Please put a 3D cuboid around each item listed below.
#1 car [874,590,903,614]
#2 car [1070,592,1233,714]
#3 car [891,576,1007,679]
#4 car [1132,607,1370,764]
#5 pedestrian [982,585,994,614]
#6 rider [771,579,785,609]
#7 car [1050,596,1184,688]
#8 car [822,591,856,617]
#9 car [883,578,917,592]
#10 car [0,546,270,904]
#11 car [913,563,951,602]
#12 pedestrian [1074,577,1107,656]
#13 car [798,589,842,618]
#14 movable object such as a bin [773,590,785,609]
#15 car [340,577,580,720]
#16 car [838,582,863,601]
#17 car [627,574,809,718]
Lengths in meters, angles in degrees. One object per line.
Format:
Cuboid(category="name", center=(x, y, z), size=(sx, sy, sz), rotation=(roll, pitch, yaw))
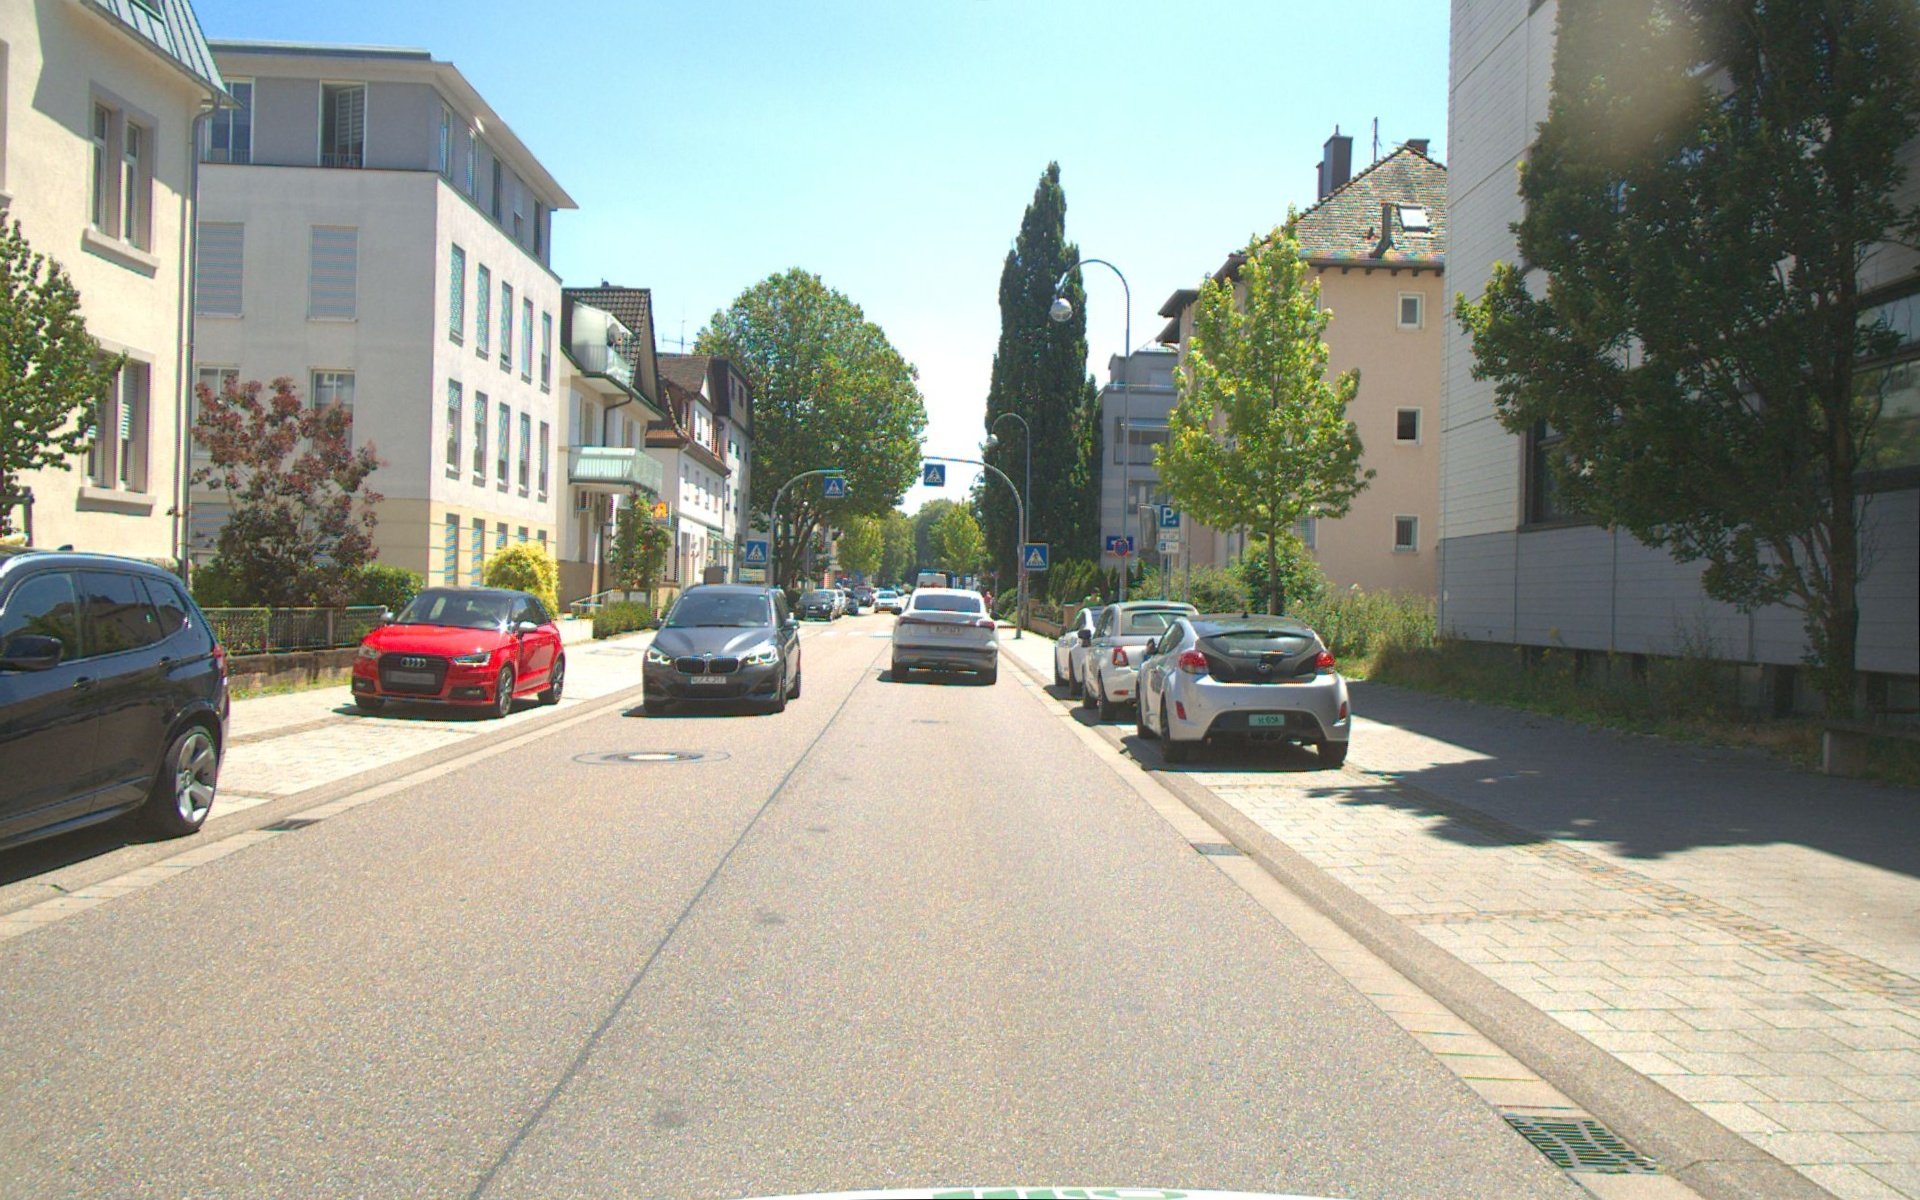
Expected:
Cuboid(category="car", center=(-4.855, 0.105, 112.657), size=(1.939, 1.546, 3.998), rotation=(1, 0, -2))
Cuboid(category="car", center=(2.544, 0.653, 22.907), size=(1.625, 1.514, 4.344), rotation=(0, 0, -2))
Cuboid(category="car", center=(-0.224, 0.460, 30.771), size=(1.897, 1.642, 4.471), rotation=(4, 0, -1))
Cuboid(category="car", center=(2.892, 0.796, 17.261), size=(1.824, 1.397, 4.000), rotation=(0, 0, 1))
Cuboid(category="pedestrian", center=(1.774, -0.028, 104.016), size=(0.680, 1.767, 0.667), rotation=(1, 0, -6))
Cuboid(category="rider", center=(-9.549, -0.320, 86.649), size=(0.648, 1.580, 0.661), rotation=(1, 0, -2))
Cuboid(category="car", center=(2.561, 0.649, 27.859), size=(1.691, 1.407, 4.400), rotation=(0, 0, -2))
Cuboid(category="car", center=(-7.600, 0.225, 104.473), size=(1.953, 1.546, 3.998), rotation=(1, 0, -2))
Cuboid(category="car", center=(-7.411, -1.857, 205.450), size=(3.902, 1.680, 2.001), rotation=(1, 0, 6))
Cuboid(category="car", center=(-5.346, 0.551, 8.422), size=(1.690, 1.647, 4.570), rotation=(4, 0, -1))
Cuboid(category="car", center=(-1.712, -1.034, 99.730), size=(2.028, 2.235, 5.135), rotation=(2, 0, -3))
Cuboid(category="pedestrian", center=(3.014, 0.383, 38.141), size=(0.625, 1.789, 0.616), rotation=(1, 0, -6))
Cuboid(category="car", center=(-6.808, 0.147, 80.738), size=(1.953, 1.373, 3.998), rotation=(1, 0, -2))
Cuboid(category="movable object such as a bin", center=(-9.536, -0.021, 87.258), size=(0.575, 0.969, 0.566), rotation=(1, 0, -2))
Cuboid(category="car", center=(-5.913, 0.521, 20.016), size=(1.616, 1.443, 3.905), rotation=(4, 0, 0))
Cuboid(category="car", center=(-9.213, -0.701, 139.362), size=(1.953, 1.546, 3.998), rotation=(1, 0, -2))
Cuboid(category="car", center=(-3.121, 0.541, 22.191), size=(1.934, 1.700, 4.469), rotation=(1, 0, -2))
